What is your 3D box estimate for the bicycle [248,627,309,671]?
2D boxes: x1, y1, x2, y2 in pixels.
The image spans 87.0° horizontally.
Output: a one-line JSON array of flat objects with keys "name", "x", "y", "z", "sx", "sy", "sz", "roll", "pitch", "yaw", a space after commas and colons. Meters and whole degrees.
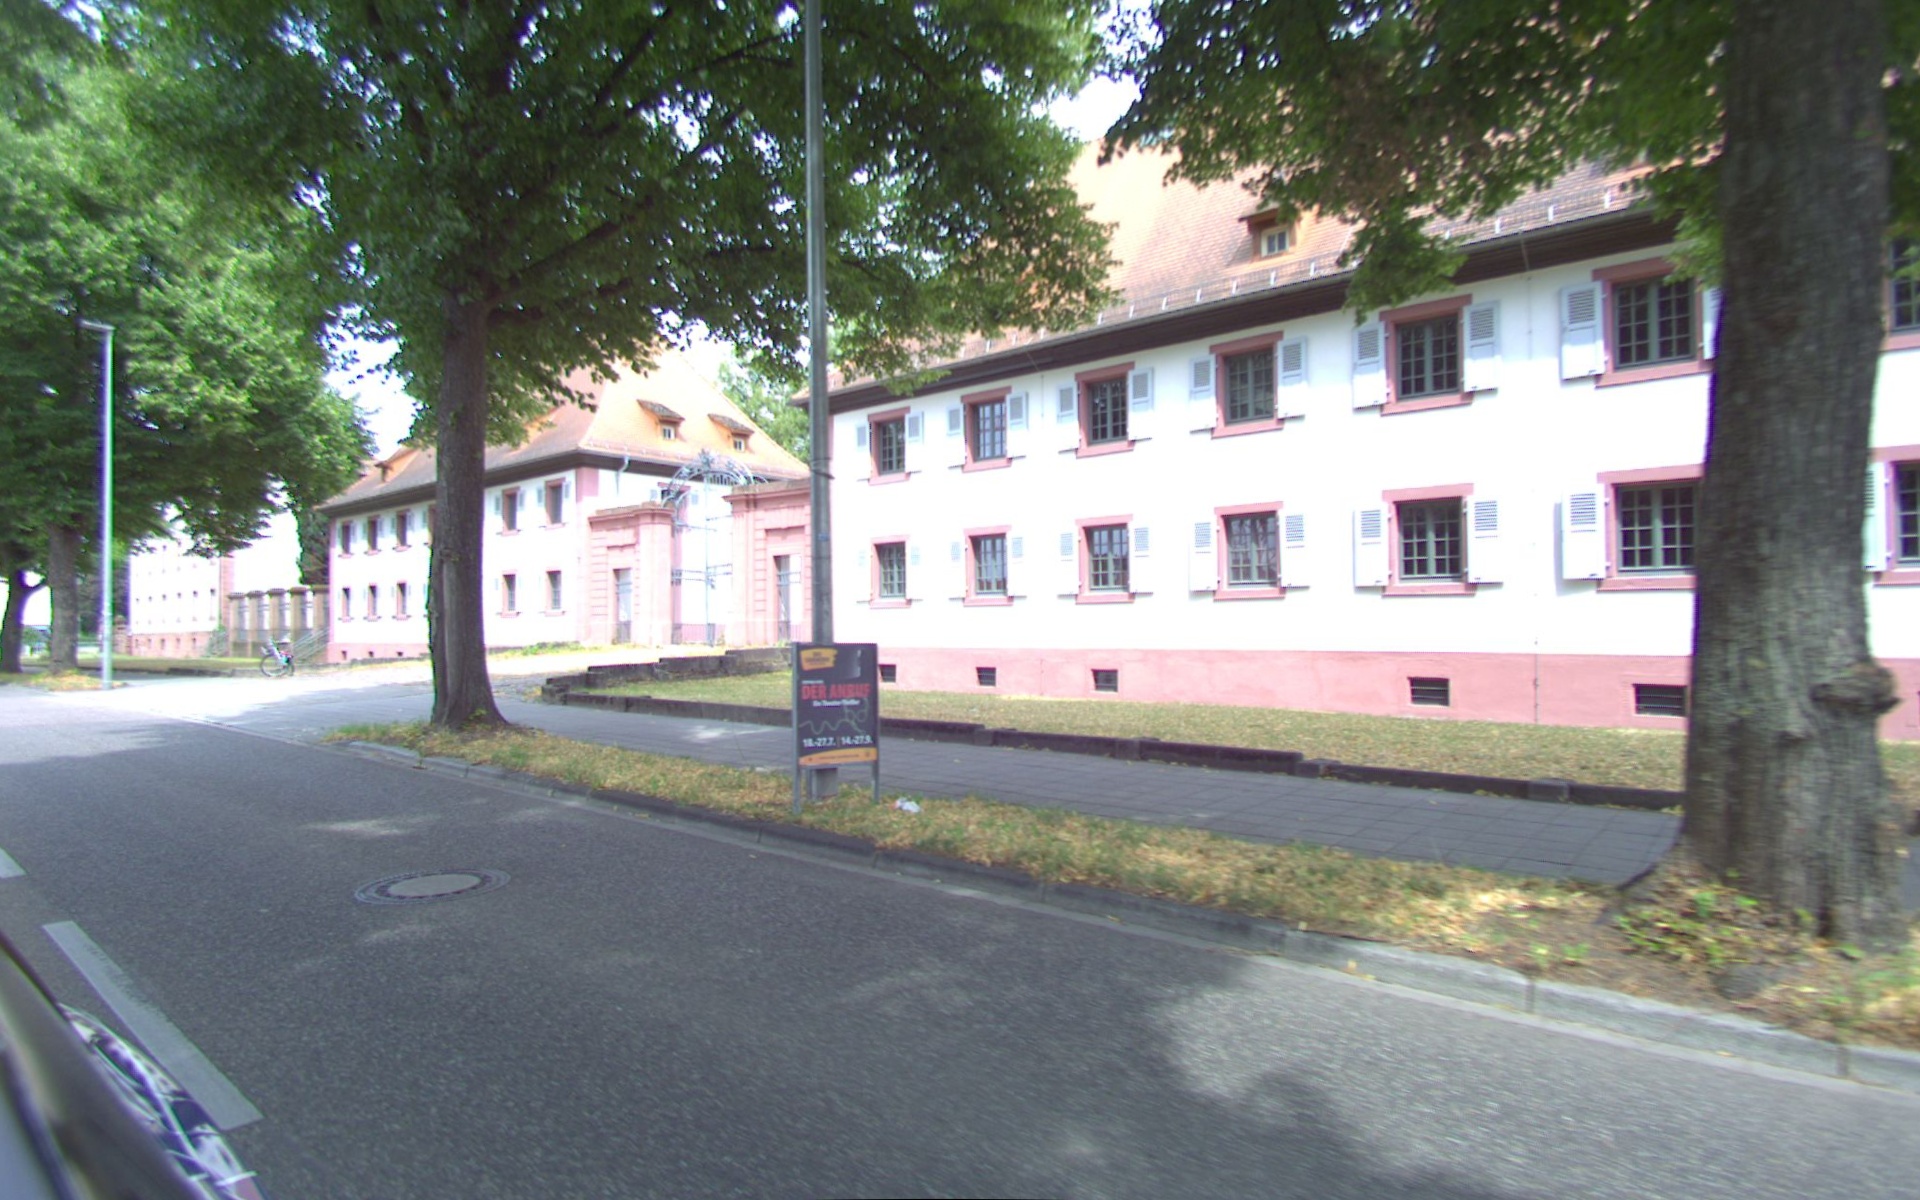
[{"name": "bicycle", "x": -18.274, "y": 1.312, "z": 27.119, "sx": 2.223, "sy": 1.103, "sz": 0.715, "roll": -3, "pitch": 1, "yaw": 40}]

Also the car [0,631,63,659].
[{"name": "car", "x": -95.136, "y": 4.573, "z": 103.202, "sx": 2.353, "sy": 2.571, "sz": 5.256, "roll": -3, "pitch": -1, "yaw": 41}]
